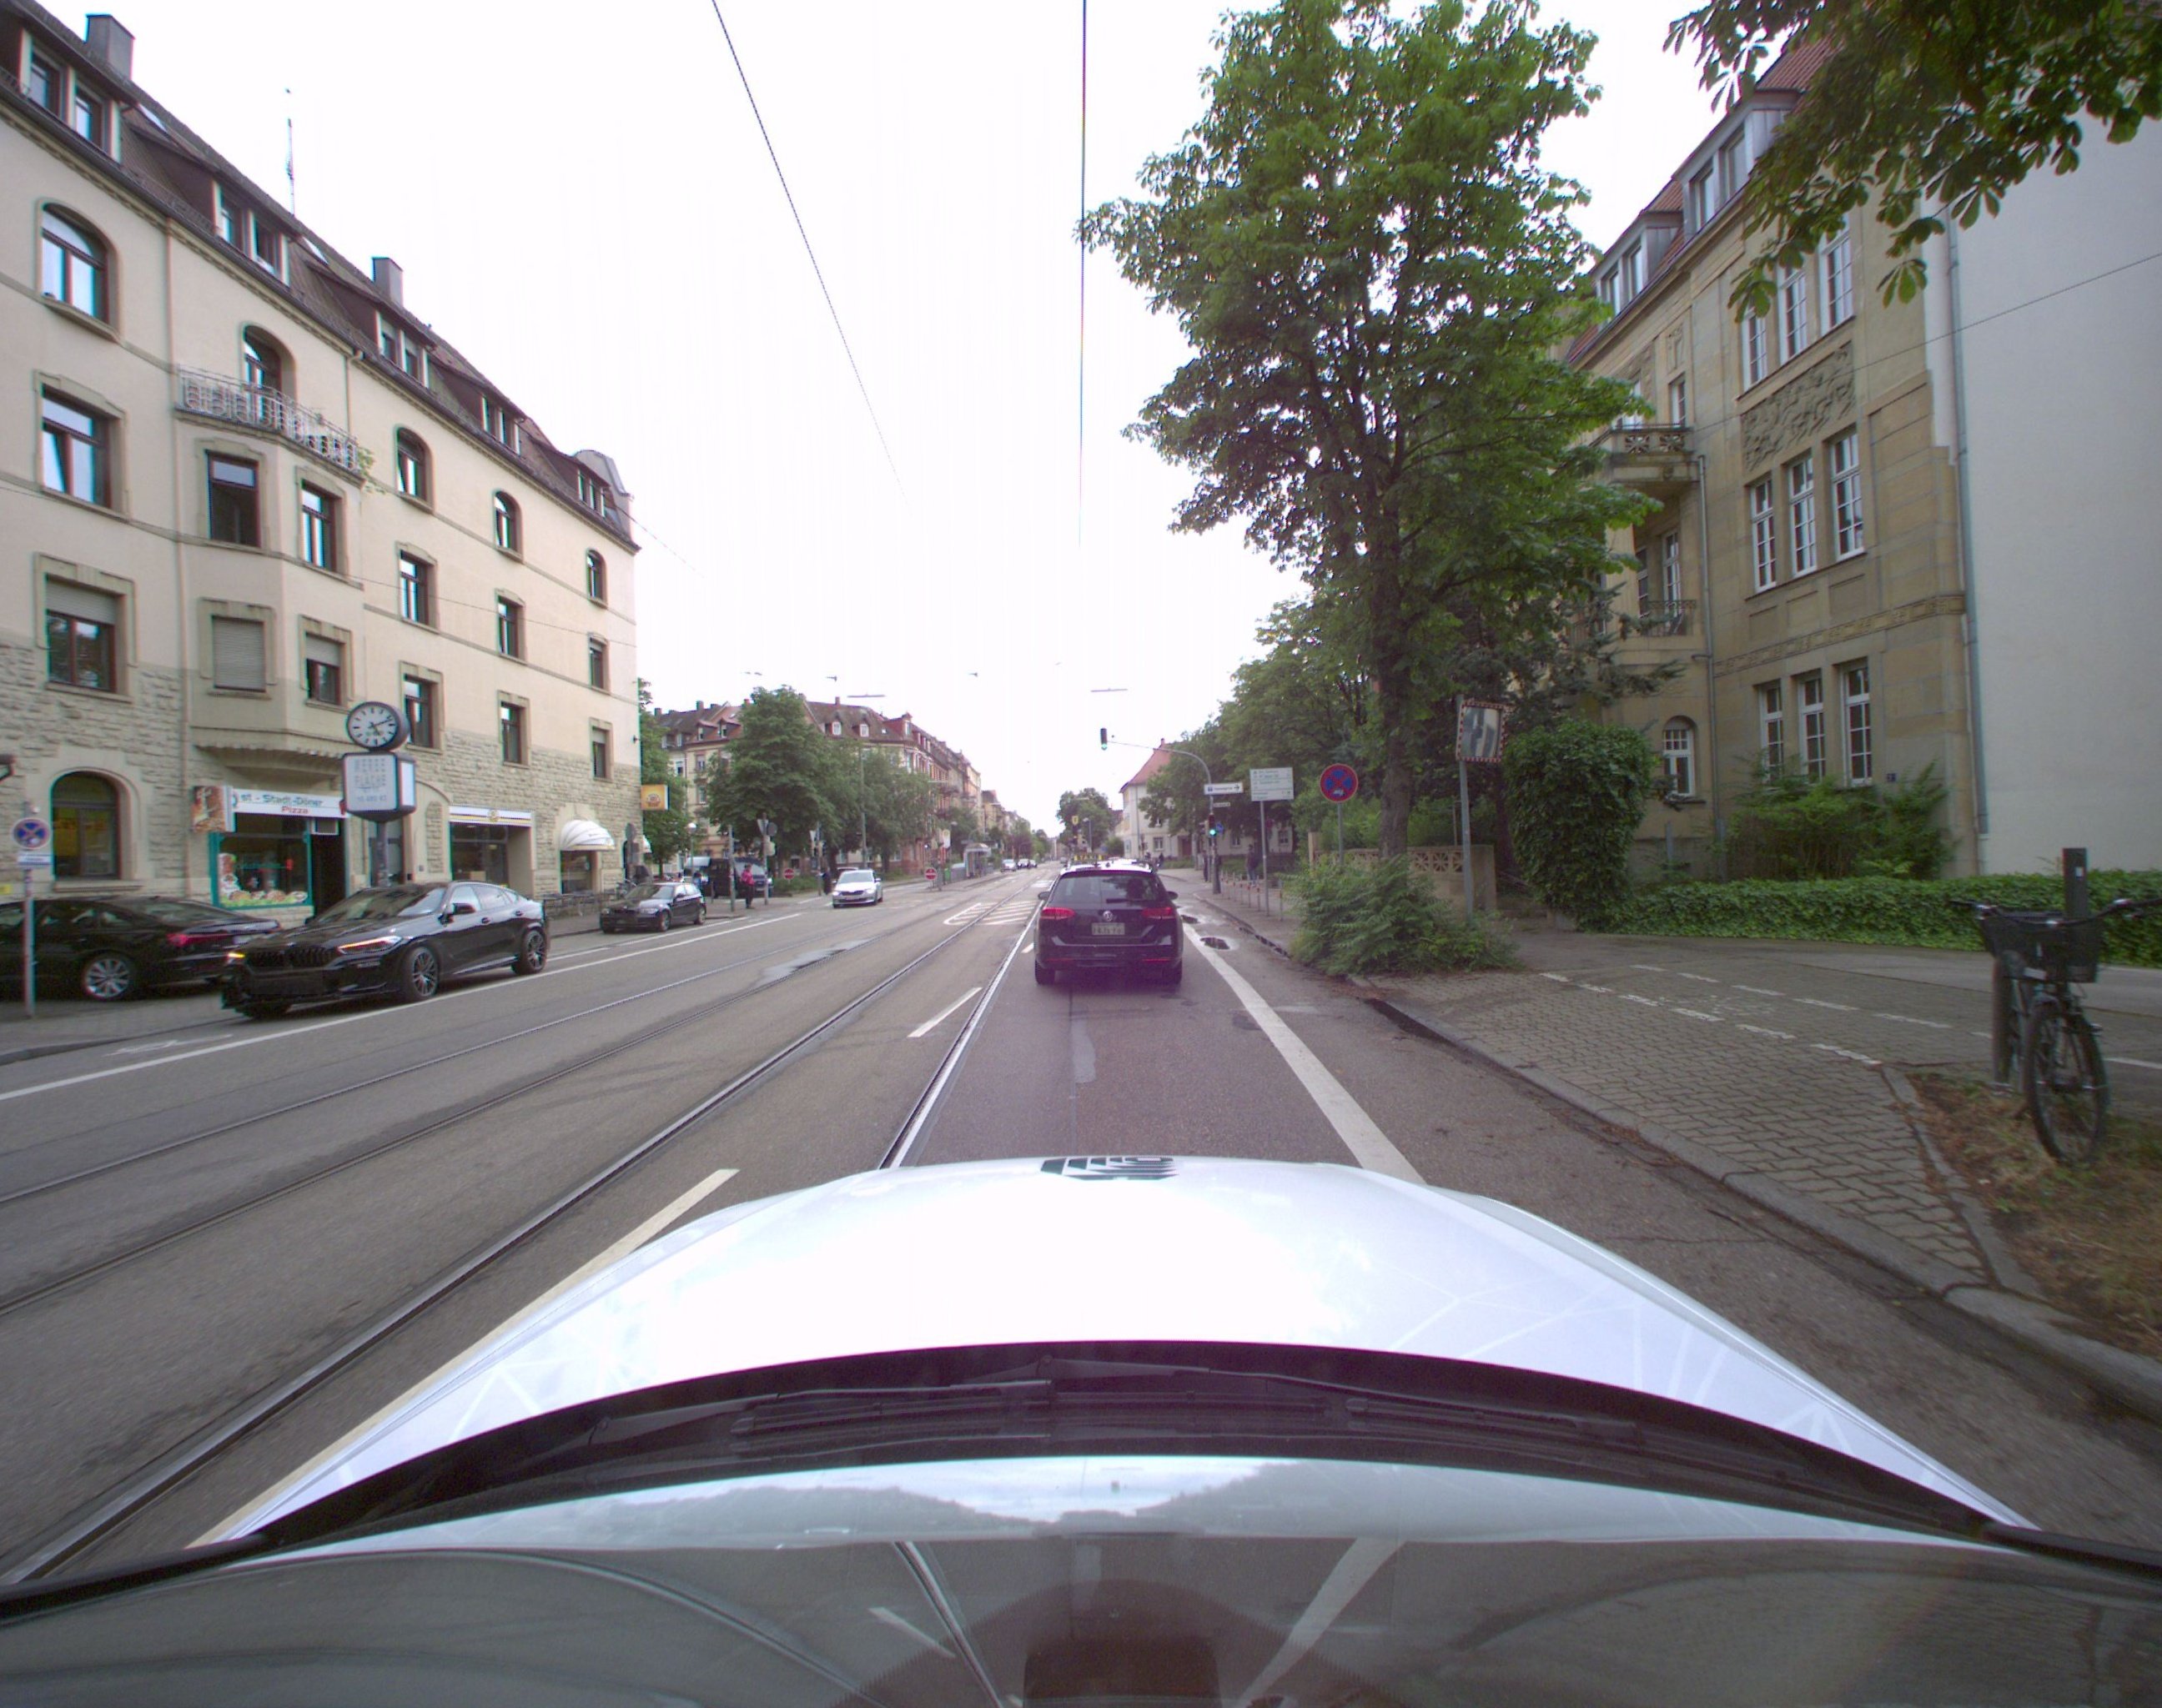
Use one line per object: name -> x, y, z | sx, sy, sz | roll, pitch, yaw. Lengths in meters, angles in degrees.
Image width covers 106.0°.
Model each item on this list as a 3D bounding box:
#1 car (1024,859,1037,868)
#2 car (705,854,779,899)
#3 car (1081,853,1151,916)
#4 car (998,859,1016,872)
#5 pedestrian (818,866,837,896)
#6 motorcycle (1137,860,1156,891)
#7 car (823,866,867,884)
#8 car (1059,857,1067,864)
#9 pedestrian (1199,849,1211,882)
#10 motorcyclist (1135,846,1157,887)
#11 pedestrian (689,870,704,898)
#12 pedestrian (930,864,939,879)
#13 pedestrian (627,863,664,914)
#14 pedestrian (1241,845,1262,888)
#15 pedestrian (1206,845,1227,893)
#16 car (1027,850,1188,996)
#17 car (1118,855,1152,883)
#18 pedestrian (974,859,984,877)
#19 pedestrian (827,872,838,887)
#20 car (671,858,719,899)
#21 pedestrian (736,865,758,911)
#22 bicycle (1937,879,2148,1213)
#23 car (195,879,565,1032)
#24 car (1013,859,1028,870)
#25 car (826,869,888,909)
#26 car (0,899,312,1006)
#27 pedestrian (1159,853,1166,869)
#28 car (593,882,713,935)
car -> -8.801, 1.666, 143.260 | 1.788, 1.596, 4.002 | -3, 0, 2
car -> -19.746, 1.339, 47.321 | 2.198, 2.417, 5.314 | -2, -1, -43
car -> 0.897, 0.788, 22.783 | 1.718, 1.546, 3.998 | -2, 0, -1
car -> -9.878, 1.525, 108.846 | 1.788, 1.596, 4.002 | -2, 0, 2
pedestrian -> -14.474, 1.531, 46.514 | 0.834, 1.663, 0.591 | -2, -1, 0
motorcycle -> 2.813, 0.901, 34.666 | 0.443, 1.235, 1.914 | -3, 0, 14
car -> -23.794, 2.114, 82.108 | 3.878, 1.622, 1.709 | -2, 0, -33
car -> -5.229, 1.934, 238.392 | 2.027, 2.014, 3.998 | -1, -1, -1
pedestrian -> 7.165, 0.651, 47.051 | 0.513, 1.831, 0.418 | -5, -1, 0
motorcyclist -> 2.773, 0.513, 34.630 | 0.698, 1.692, 0.807 | -3, 0, 14
pedestrian -> -23.935, 1.868, 50.689 | 0.704, 1.715, 0.545 | -2, -1, -41
pedestrian -> -15.190, 1.822, 84.433 | 0.582, 1.521, 0.653 | -3, -1, 35
pedestrian -> -17.877, 1.410, 33.474 | 0.971, 2.013, 0.835 | -3, 0, -1
pedestrian -> 7.288, 0.522, 34.764 | 0.630, 1.815, 0.725 | -2, -1, -3
pedestrian -> 5.309, 0.583, 31.945 | 0.583, 1.831, 0.604 | -5, -1, 0
car -> 0.274, 0.766, 10.964 | 1.718, 1.546, 3.998 | -2, 0, -1
car -> 3.194, 0.883, 48.996 | 1.718, 1.546, 3.998 | -2, 0, -1
pedestrian -> -8.833, 1.232, 70.425 | 0.712, 1.521, 0.590 | -2, -1, 0
pedestrian -> -19.104, 1.961, 62.524 | 0.591, 1.168, 0.837 | -2, -1, -30
car -> -26.152, 1.630, 55.056 | 2.194, 2.527, 5.324 | -2, 0, -33
pedestrian -> -13.708, 1.398, 33.420 | 0.621, 1.842, 0.609 | -2, -1, -3
bicycle -> 4.486, 0.746, 3.894 | 0.428, 1.198, 1.915 | -3, -2, 44
car -> -10.081, 1.303, 12.391 | 1.883, 1.611, 4.871 | -5, 0, -9
car -> -9.268, 1.621, 125.796 | 1.788, 1.596, 4.002 | -3, 0, 2
car -> -9.052, 1.370, 33.217 | 1.687, 1.410, 3.992 | -4, 0, -6
car -> -14.719, 1.414, 12.166 | 4.419, 1.370, 1.877 | 0, -1, -6
pedestrian -> 8.005, 0.644, 80.214 | 0.579, 1.553, 0.610 | -2, -1, 2
car -> -12.869, 1.583, 24.797 | 1.645, 1.361, 4.125 | 0, 0, -3
